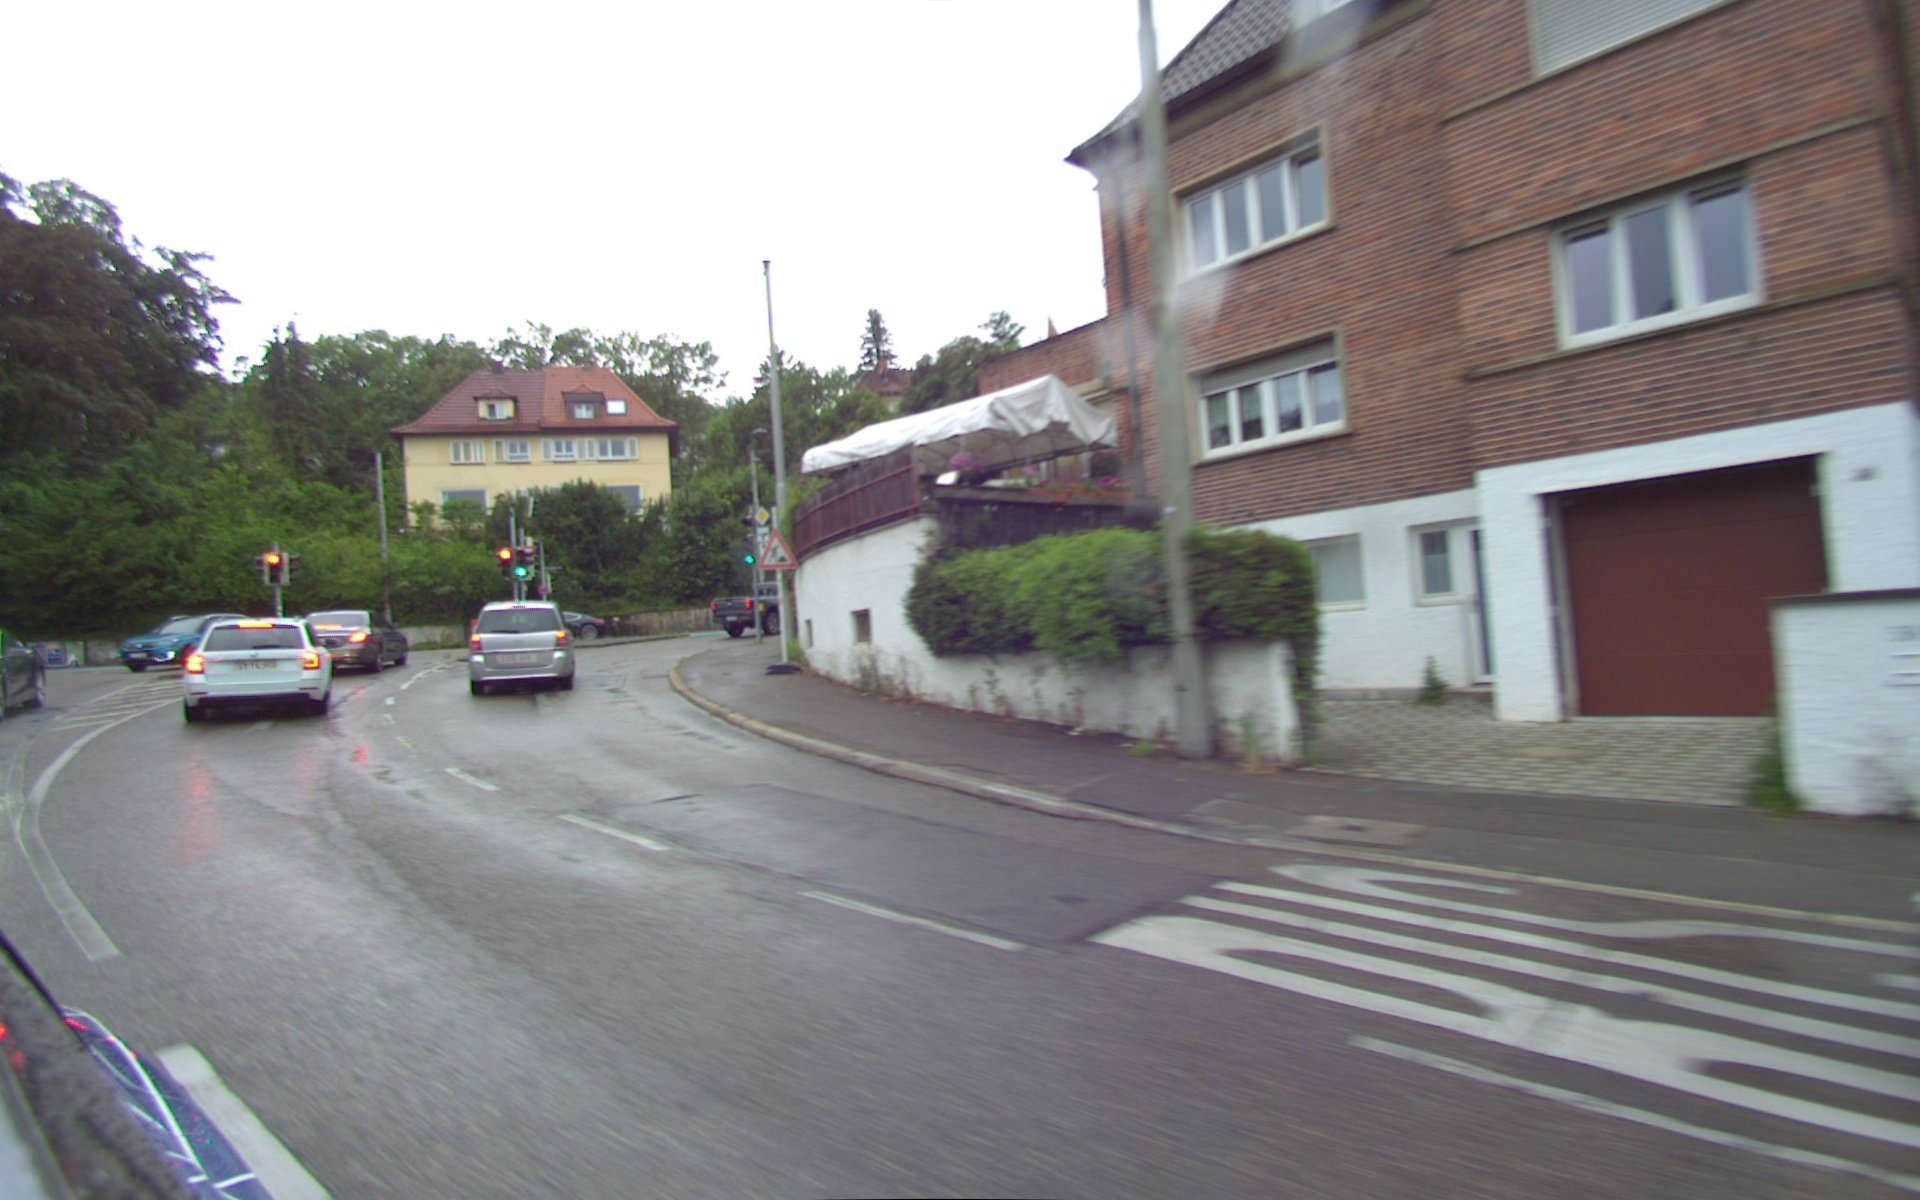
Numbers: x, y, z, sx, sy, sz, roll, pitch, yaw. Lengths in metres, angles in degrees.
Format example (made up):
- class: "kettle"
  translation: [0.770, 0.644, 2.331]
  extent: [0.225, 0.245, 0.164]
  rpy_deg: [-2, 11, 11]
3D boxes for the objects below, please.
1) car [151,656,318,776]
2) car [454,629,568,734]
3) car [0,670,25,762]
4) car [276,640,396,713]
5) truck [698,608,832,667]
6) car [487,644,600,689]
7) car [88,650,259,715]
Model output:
- class: "car"
  translation: [-11.088, 1.648, 15.596]
  extent: [1.822, 1.485, 4.452]
  rpy_deg: [1, -3, -35]
- class: "car"
  translation: [-8.426, 1.429, 19.295]
  extent: [1.687, 1.597, 4.474]
  rpy_deg: [-2, 0, -20]
- class: "car"
  translation: [-15.872, 1.886, 15.337]
  extent: [1.806, 1.402, 4.335]
  rpy_deg: [-2, -1, -34]
- class: "car"
  translation: [-14.844, 1.746, 24.301]
  extent: [1.832, 1.406, 4.611]
  rpy_deg: [-1, 0, -24]
- class: "truck"
  translation: [-6.824, 1.259, 36.021]
  extent: [1.879, 1.862, 5.232]
  rpy_deg: [-1, 0, 27]
- class: "car"
  translation: [-17.372, 2.767, 42.362]
  extent: [3.977, 1.471, 1.763]
  rpy_deg: [-5, -2, -9]
- class: "car"
  translation: [-23.395, 2.410, 30.311]
  extent: [1.779, 1.622, 4.036]
  rpy_deg: [-6, -3, 3]
